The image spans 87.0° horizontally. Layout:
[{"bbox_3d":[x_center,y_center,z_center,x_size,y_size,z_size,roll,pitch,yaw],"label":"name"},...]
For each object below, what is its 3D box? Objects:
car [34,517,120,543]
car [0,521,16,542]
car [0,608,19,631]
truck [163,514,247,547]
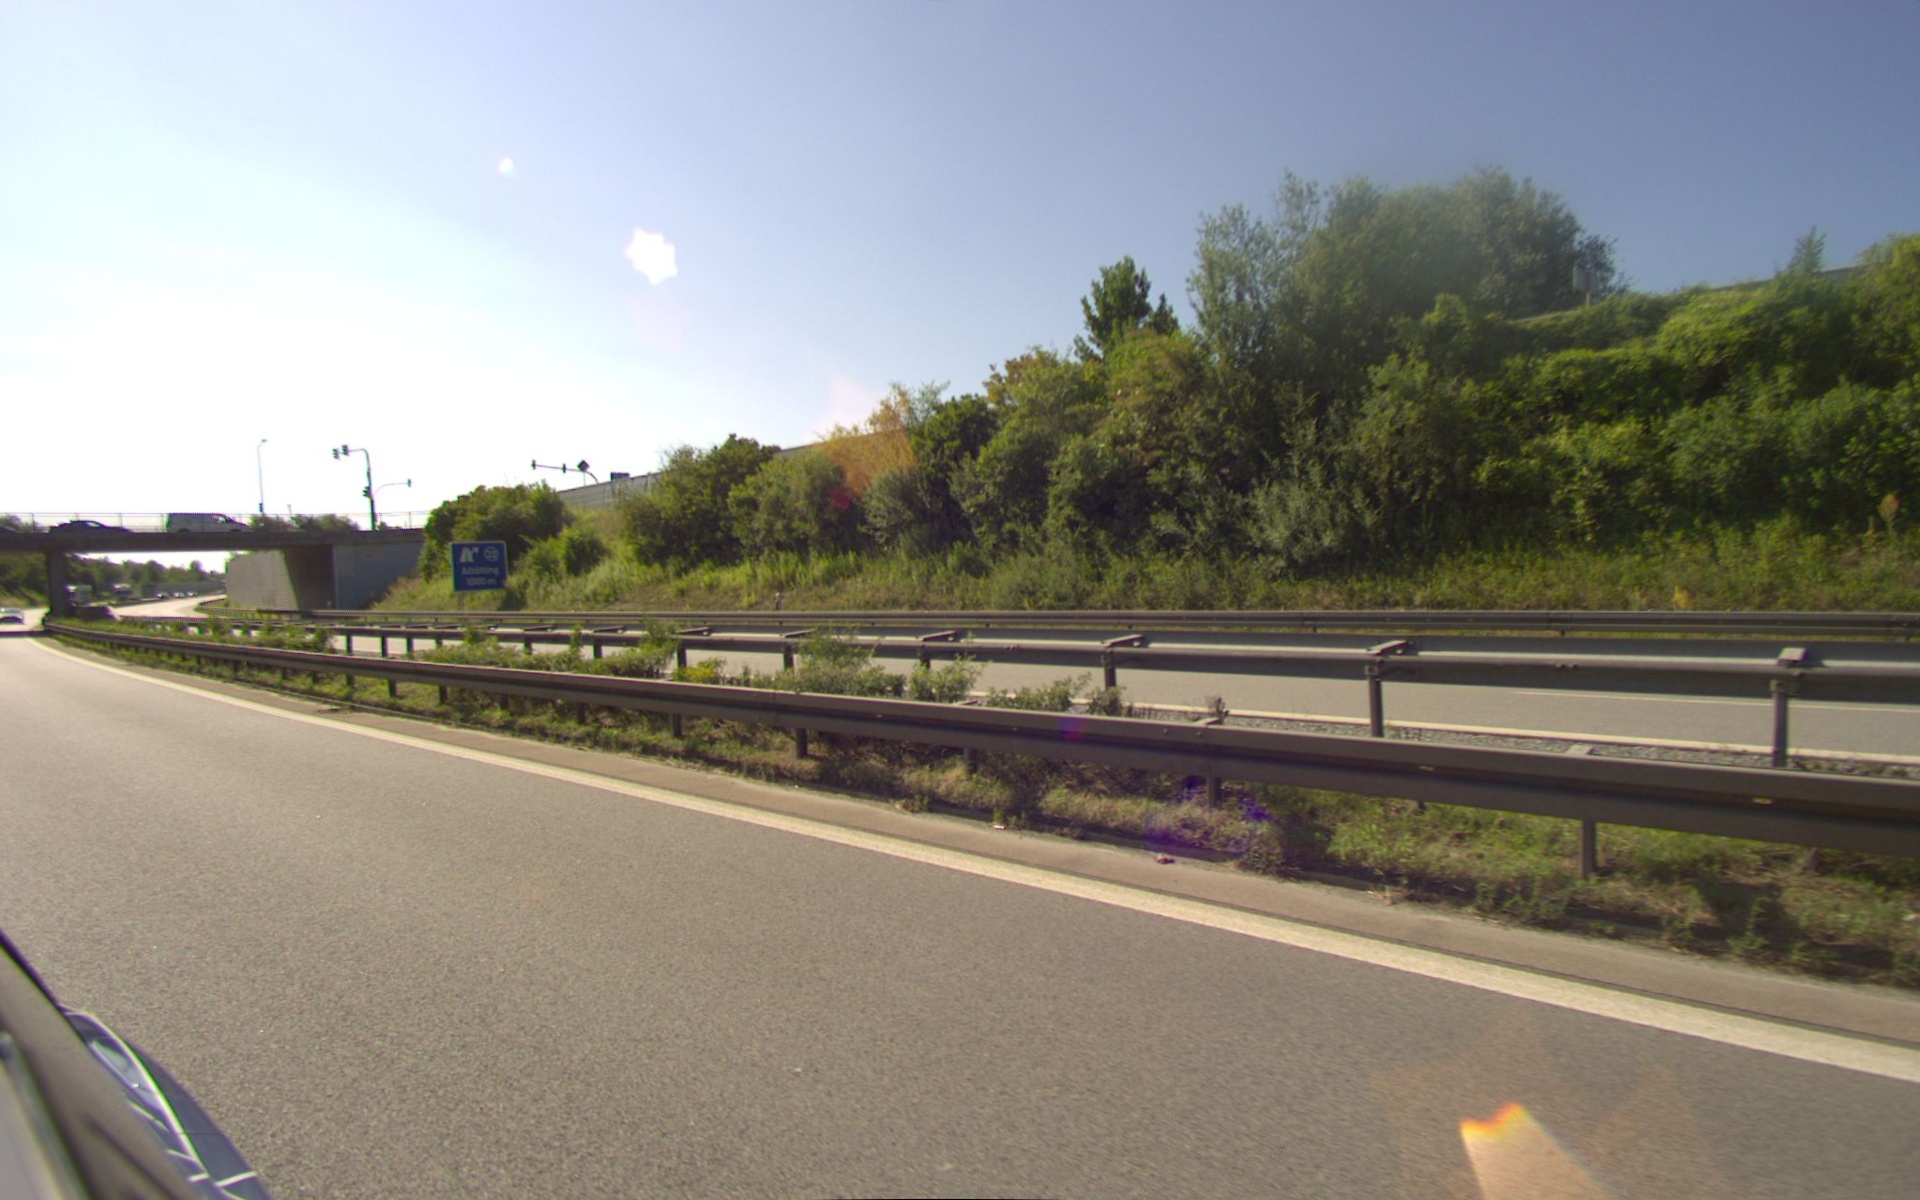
[{"bbox_3d":[-60.990,-4.797,69.959,4.377,1.567,1.908,-1,1,-44],"label":"car"},{"bbox_3d":[-64.604,-4.532,66.472,3.789,1.315,1.826,-1,1,-44],"label":"car"},{"bbox_3d":[-85.944,1.781,90.944,1.969,2.029,4.605,0,-1,-42],"label":"car"},{"bbox_3d":[-55.793,-5.126,74.805,4.798,2.183,2.002,-1,1,-43],"label":"truck"}]
